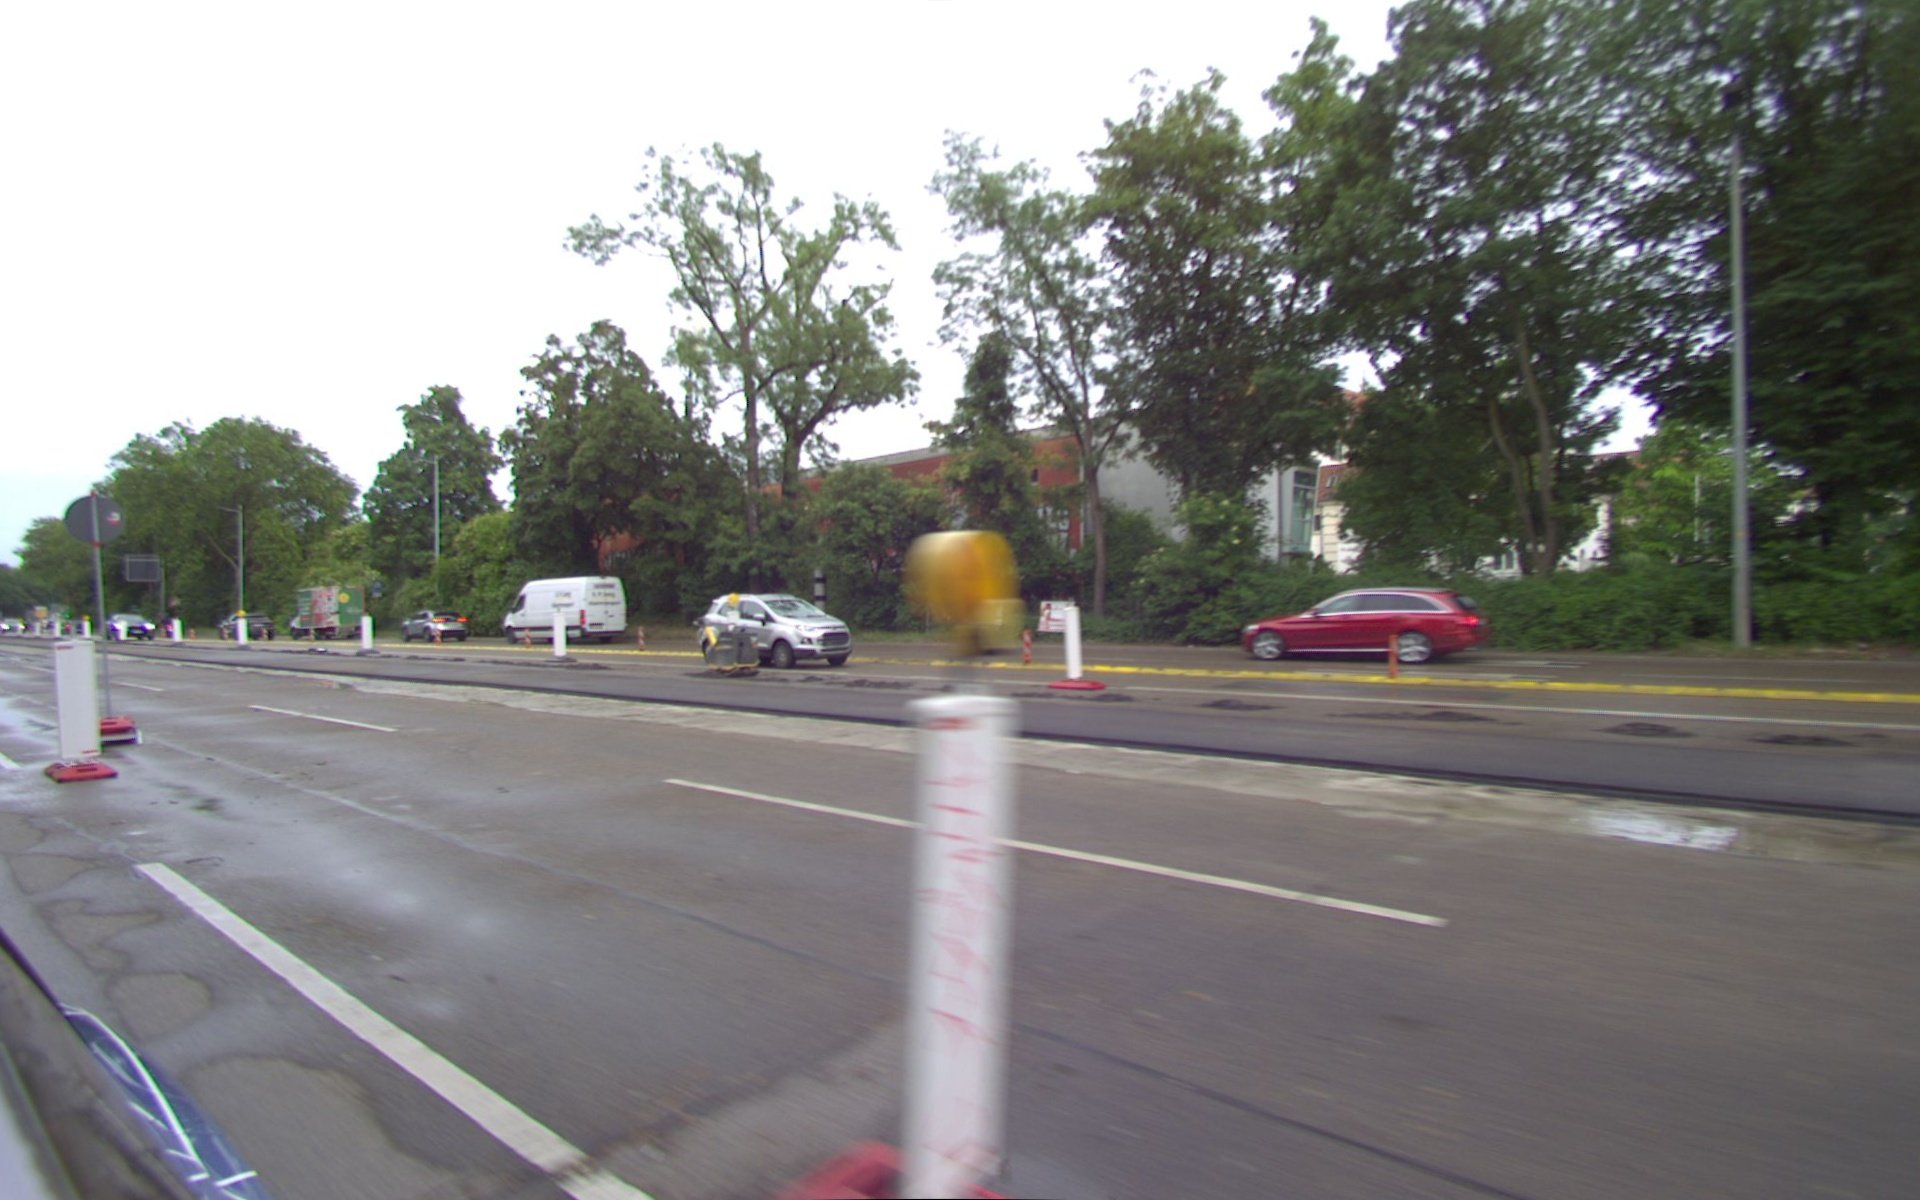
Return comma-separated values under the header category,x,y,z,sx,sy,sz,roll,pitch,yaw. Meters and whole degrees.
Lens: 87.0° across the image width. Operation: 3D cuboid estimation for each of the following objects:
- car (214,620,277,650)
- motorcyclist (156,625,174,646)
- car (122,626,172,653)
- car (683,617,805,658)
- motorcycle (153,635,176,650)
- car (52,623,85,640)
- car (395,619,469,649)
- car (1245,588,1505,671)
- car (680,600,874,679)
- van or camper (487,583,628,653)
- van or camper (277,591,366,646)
category,x,y,z,sx,sy,sz,roll,pitch,yaw
car,-42.826,2.093,60.607,4.804,1.706,1.973,-2,-1,41
motorcyclist,-55.488,2.452,70.619,0.975,1.421,0.805,-2,1,41
car,-53.535,2.565,66.603,4.813,1.641,1.971,-1,0,44
car,-7.064,1.217,32.945,3.994,1.192,1.673,-2,1,38
motorcycle,-55.673,2.990,70.819,2.592,0.996,0.800,-2,1,41
car,-89.122,3.153,101.138,4.395,1.564,1.869,-2,0,41
car,-25.166,1.598,48.199,4.078,1.375,1.698,-2,-1,40
car,8.172,0.569,20.163,4.484,1.487,1.711,-1,-1,41
car,-4.203,0.866,22.890,4.358,1.576,1.871,-2,0,38
van or camper,-16.467,0.744,41.091,7.726,2.574,1.973,-2,1,41
van or camper,-37.642,1.084,59.550,7.447,3.086,2.274,-1,-1,41
